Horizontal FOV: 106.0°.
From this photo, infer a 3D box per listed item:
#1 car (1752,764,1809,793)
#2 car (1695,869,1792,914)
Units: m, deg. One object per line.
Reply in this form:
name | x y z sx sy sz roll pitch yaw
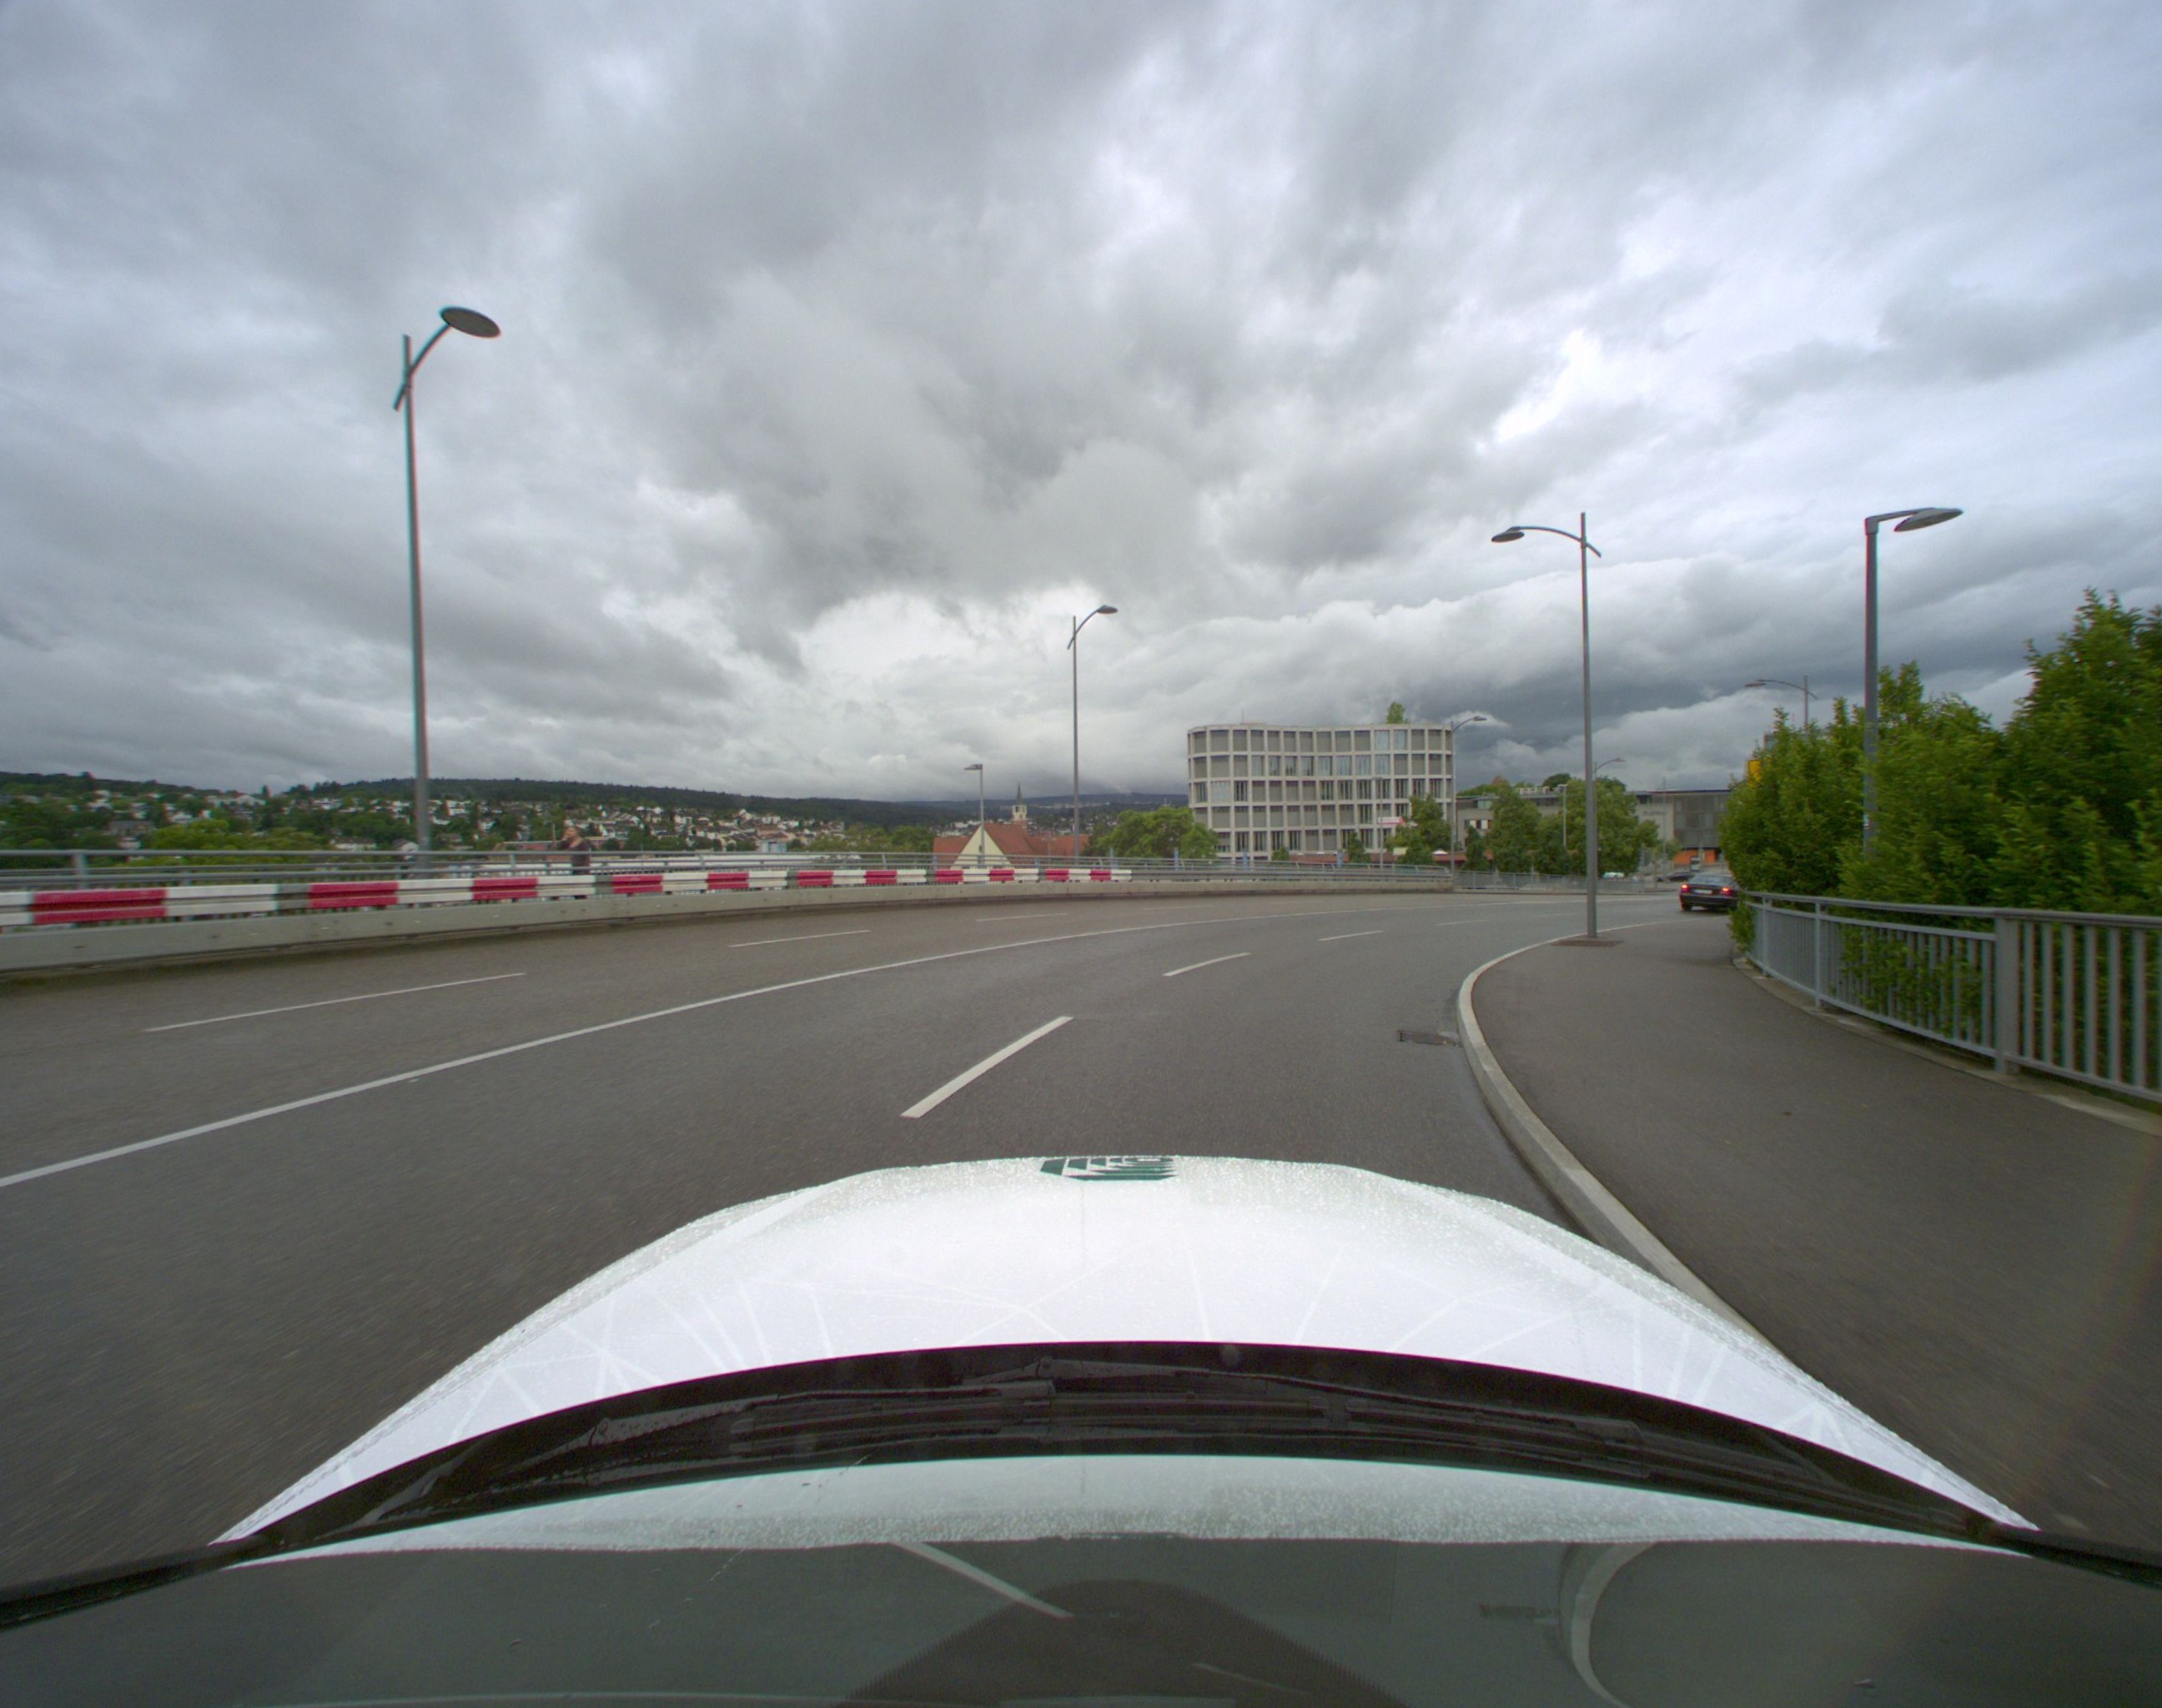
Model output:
car | 42.289 -4.513 49.214 4.018 1.436 1.746 1 1 -37
car | 24.086 1.307 29.575 3.740 1.419 1.694 0 2 -34
